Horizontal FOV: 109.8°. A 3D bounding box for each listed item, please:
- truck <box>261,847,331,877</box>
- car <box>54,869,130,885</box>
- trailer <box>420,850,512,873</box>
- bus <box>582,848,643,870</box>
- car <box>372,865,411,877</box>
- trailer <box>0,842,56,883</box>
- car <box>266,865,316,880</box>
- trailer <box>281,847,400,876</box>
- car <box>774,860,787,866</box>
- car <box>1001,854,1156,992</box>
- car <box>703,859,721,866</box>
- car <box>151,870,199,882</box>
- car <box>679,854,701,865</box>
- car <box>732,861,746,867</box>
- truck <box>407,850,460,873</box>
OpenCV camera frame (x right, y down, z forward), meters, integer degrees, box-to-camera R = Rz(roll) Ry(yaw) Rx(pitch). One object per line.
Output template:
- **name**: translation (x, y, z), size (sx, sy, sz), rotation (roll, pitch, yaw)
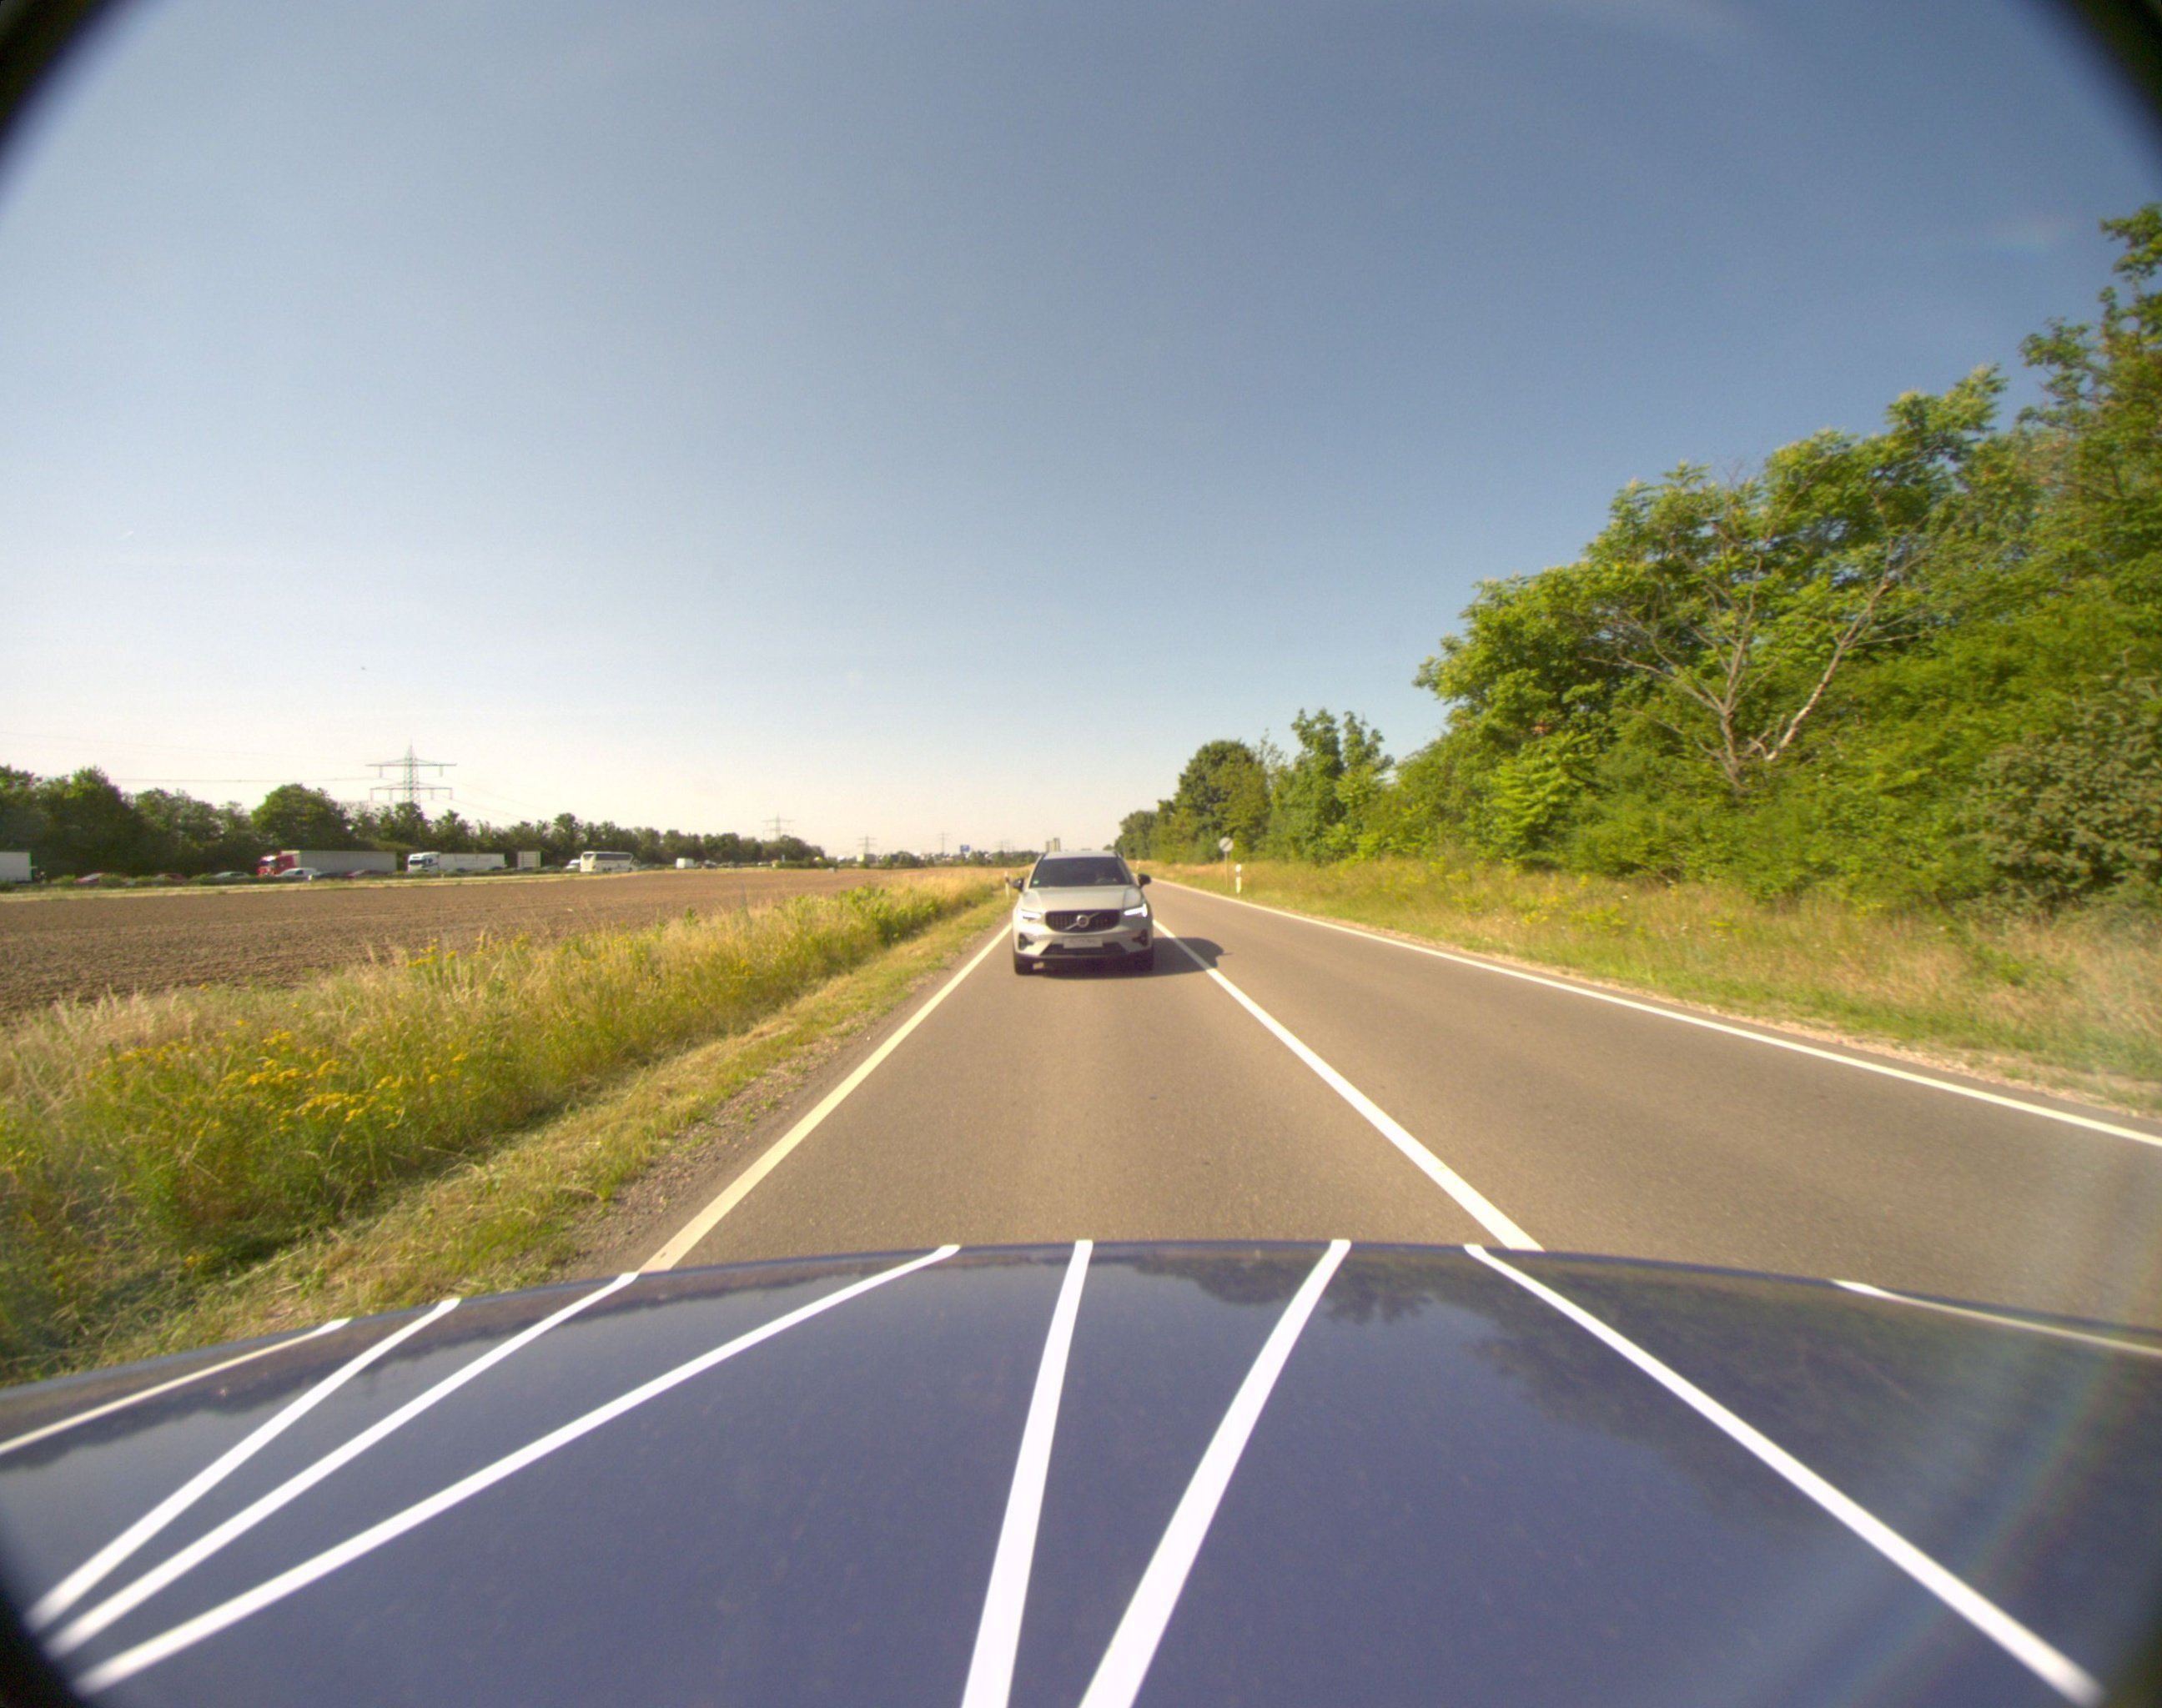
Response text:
- **truck**: translation (-102.022, 0.961, 98.856), size (2.953, 3.711, 5.869), rotation (-1, 0, 0)
- **car**: translation (-96.336, 2.249, 74.088), size (1.855, 1.377, 4.248), rotation (-2, 0, 0)
- **trailer**: translation (-101.837, 1.175, 126.368), size (3.211, 3.510, 15.081), rotation (0, 0, -1)
- **bus**: translation (-86.906, 0.969, 141.503), size (2.469, 3.781, 14.547), rotation (-1, 0, -1)
- **car**: translation (-95.612, 2.296, 105.419), size (1.707, 1.500, 4.094), rotation (-3, 0, 0)
- **trailer**: translation (-101.649, 0.824, 67.437), size (3.079, 3.711, 13.366), rotation (-1, 0, 1)
- **car**: translation (-95.708, 2.253, 92.105), size (1.707, 1.629, 4.093), rotation (-3, 0, -1)
- **trailer**: translation (-102.049, 0.964, 105.250), size (2.953, 3.711, 13.781), rotation (-1, 0, 0)
- **car**: translation (-82.844, 2.397, 209.490), size (1.707, 1.534, 4.196), rotation (-3, 0, 0)
- **car**: translation (-0.007, 0.855, 11.382), size (1.840, 1.628, 4.135), rotation (-2, 0, 1)
- **car**: translation (-83.388, 1.956, 171.729), size (1.707, 1.464, 4.210), rotation (-3, 0, 1)
- **car**: translation (-101.665, 2.451, 85.316), size (1.344, 1.212, 3.291), rotation (-3, 0, -1)
- **car**: translation (-87.712, 1.190, 170.469), size (1.999, 2.358, 5.521), rotation (-3, 0, 0)
- **car**: translation (-87.208, 2.471, 193.812), size (1.707, 1.366, 4.094), rotation (-3, 0, 1)
- **truck**: translation (-101.788, 1.171, 119.554), size (3.211, 3.510, 6.108), rotation (0, 0, -1)
